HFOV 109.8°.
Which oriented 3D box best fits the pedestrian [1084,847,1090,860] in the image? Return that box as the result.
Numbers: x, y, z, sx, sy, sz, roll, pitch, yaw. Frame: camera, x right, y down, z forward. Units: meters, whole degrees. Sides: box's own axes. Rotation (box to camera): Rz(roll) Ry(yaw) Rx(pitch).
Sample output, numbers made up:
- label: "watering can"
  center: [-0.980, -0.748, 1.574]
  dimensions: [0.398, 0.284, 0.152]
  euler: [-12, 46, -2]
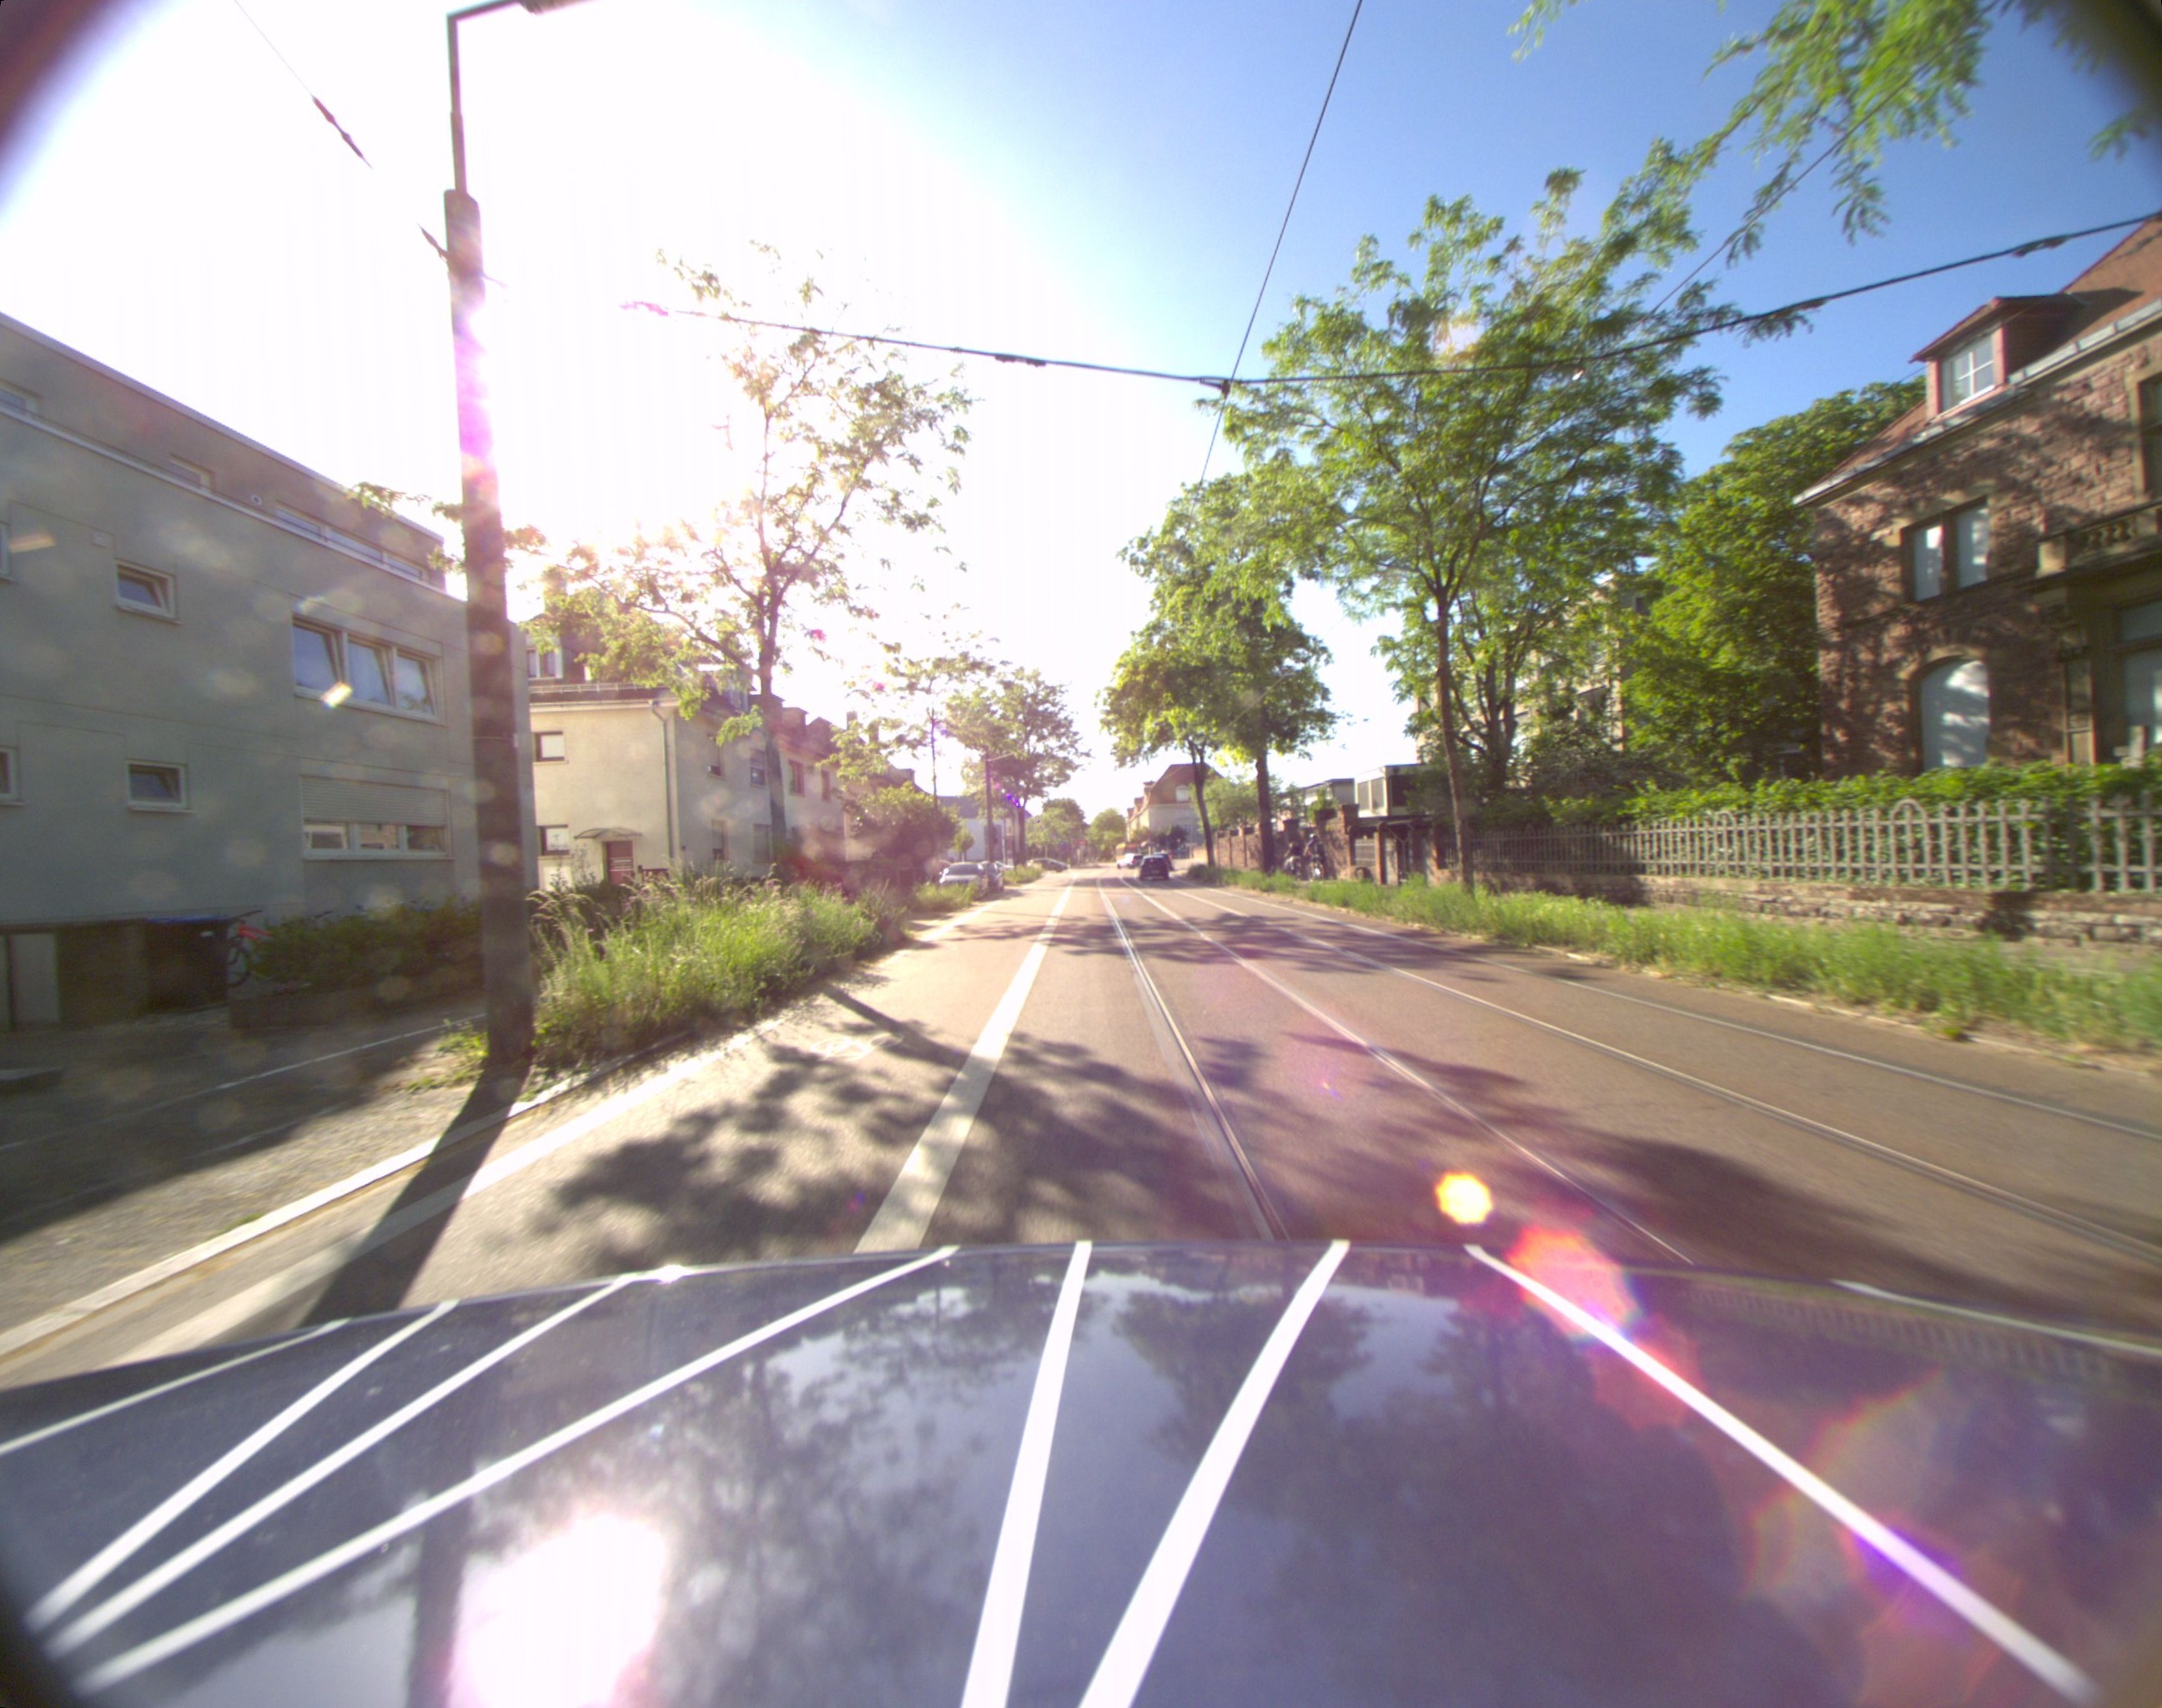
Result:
- label: "pedestrian"
  center: [0.812, -0.082, 106.155]
  dimensions: [0.712, 1.843, 0.729]
  euler: [-4, 1, 2]

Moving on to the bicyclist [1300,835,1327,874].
- label: "bicyclist"
  center: [9.026, 0.005, 29.506]
  dimensions: [0.710, 1.462, 1.041]
  euler: [-2, 1, 1]

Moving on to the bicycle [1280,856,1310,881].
- label: "bicycle"
  center: [9.162, 0.593, 32.642]
  dimensions: [0.720, 0.968, 1.888]
  euler: [-4, 1, 1]

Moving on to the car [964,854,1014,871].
- label: "car"
  center: [-9.439, 0.893, 78.197]
  dimensions: [4.610, 1.458, 1.983]
  euler: [-2, 2, 12]

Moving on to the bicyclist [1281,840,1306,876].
- label: "bicyclist"
  center: [9.124, 0.160, 32.627]
  dimensions: [0.711, 1.490, 0.956]
  euler: [-4, 1, 1]

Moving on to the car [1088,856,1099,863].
- label: "car"
  center: [2.827, 1.172, 172.621]
  dimensions: [1.743, 1.450, 3.691]
  euler: [-3, 0, -8]

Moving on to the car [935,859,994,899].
- label: "car"
  center: [-4.762, 0.979, 31.539]
  dimensions: [1.753, 1.486, 3.996]
  euler: [-2, 0, 0]

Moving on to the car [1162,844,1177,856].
- label: "car"
  center: [15.215, -0.629, 130.654]
  dimensions: [1.998, 1.954, 4.934]
  euler: [-3, 0, 1]

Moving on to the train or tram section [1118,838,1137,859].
- label: "train or tram section"
  center: [8.051, -0.928, 132.025]
  dimensions: [2.811, 3.439, 6.668]
  euler: [-3, 0, 1]

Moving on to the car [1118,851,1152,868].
- label: "car"
  center: [5.336, 0.527, 75.443]
  dimensions: [2.001, 1.515, 4.574]
  euler: [-3, 0, -14]

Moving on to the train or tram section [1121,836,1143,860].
- label: "train or tram section"
  center: [7.889, -0.907, 118.636]
  dimensions: [2.811, 3.439, 6.668]
  euler: [-3, 0, 1]

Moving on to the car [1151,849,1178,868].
- label: "car"
  center: [6.963, 0.355, 63.803]
  dimensions: [1.753, 1.515, 4.035]
  euler: [-3, 0, 0]

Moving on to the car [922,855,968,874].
- label: "car"
  center: [-13.594, 1.040, 76.287]
  dimensions: [4.173, 1.632, 1.982]
  euler: [-3, 0, -1]

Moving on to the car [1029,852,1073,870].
- label: "car"
  center: [-3.008, 0.704, 76.678]
  dimensions: [3.994, 1.499, 1.983]
  euler: [-3, 0, 10]

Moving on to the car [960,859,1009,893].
- label: "car"
  center: [-4.685, 1.024, 37.407]
  dimensions: [1.753, 1.486, 4.443]
  euler: [-2, 0, 0]

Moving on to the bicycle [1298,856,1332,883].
- label: "bicycle"
  center: [9.059, 0.589, 29.506]
  dimensions: [0.713, 0.955, 2.094]
  euler: [-2, 0, 1]

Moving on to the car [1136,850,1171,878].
- label: "car"
  center: [4.399, 0.589, 46.501]
  dimensions: [1.753, 1.515, 4.069]
  euler: [-3, 0, 0]
